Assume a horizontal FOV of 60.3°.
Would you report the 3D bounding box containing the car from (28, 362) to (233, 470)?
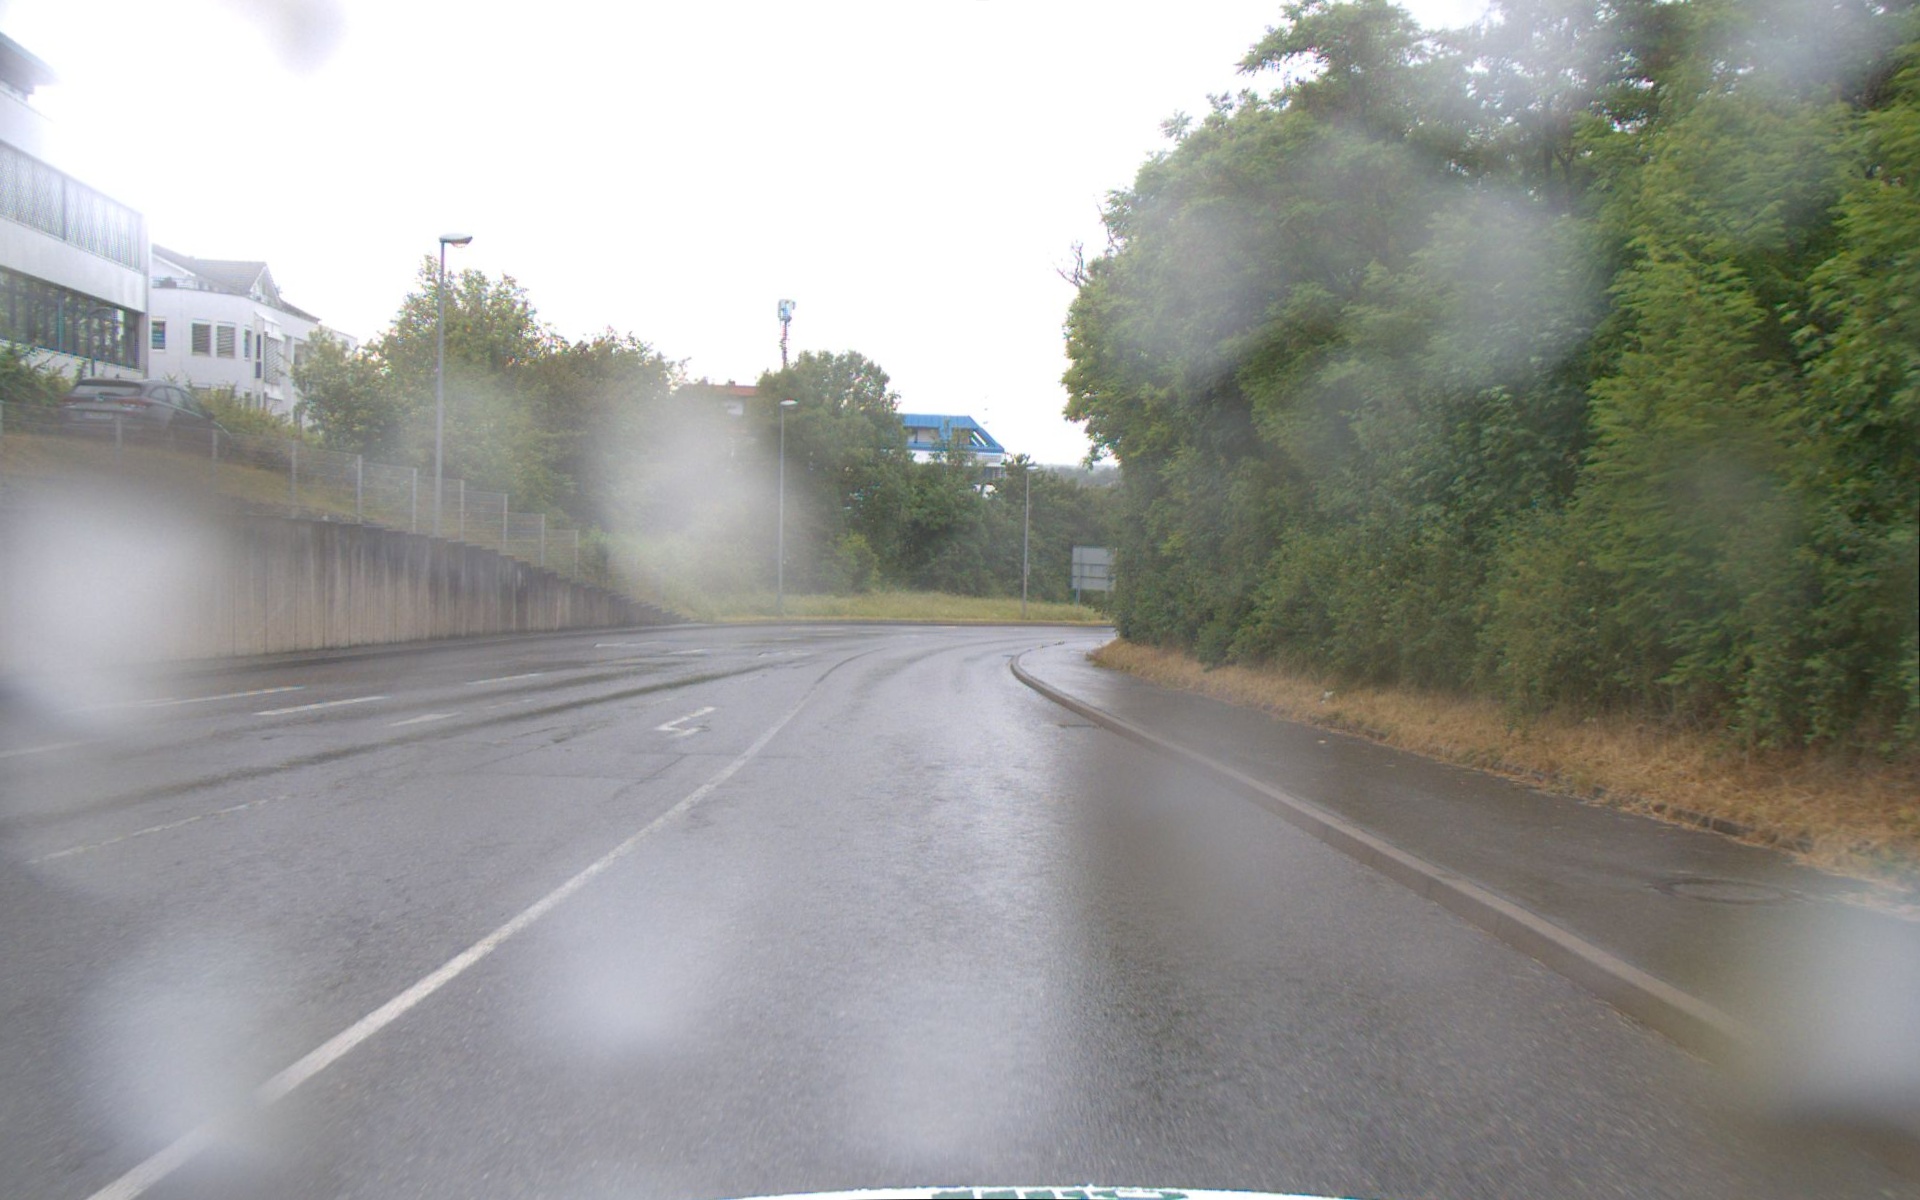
[{"bbox_3d":[-14.972,-3.278,30.096,1.791,1.467,3.998,3,0,-3],"label":"car"}]
